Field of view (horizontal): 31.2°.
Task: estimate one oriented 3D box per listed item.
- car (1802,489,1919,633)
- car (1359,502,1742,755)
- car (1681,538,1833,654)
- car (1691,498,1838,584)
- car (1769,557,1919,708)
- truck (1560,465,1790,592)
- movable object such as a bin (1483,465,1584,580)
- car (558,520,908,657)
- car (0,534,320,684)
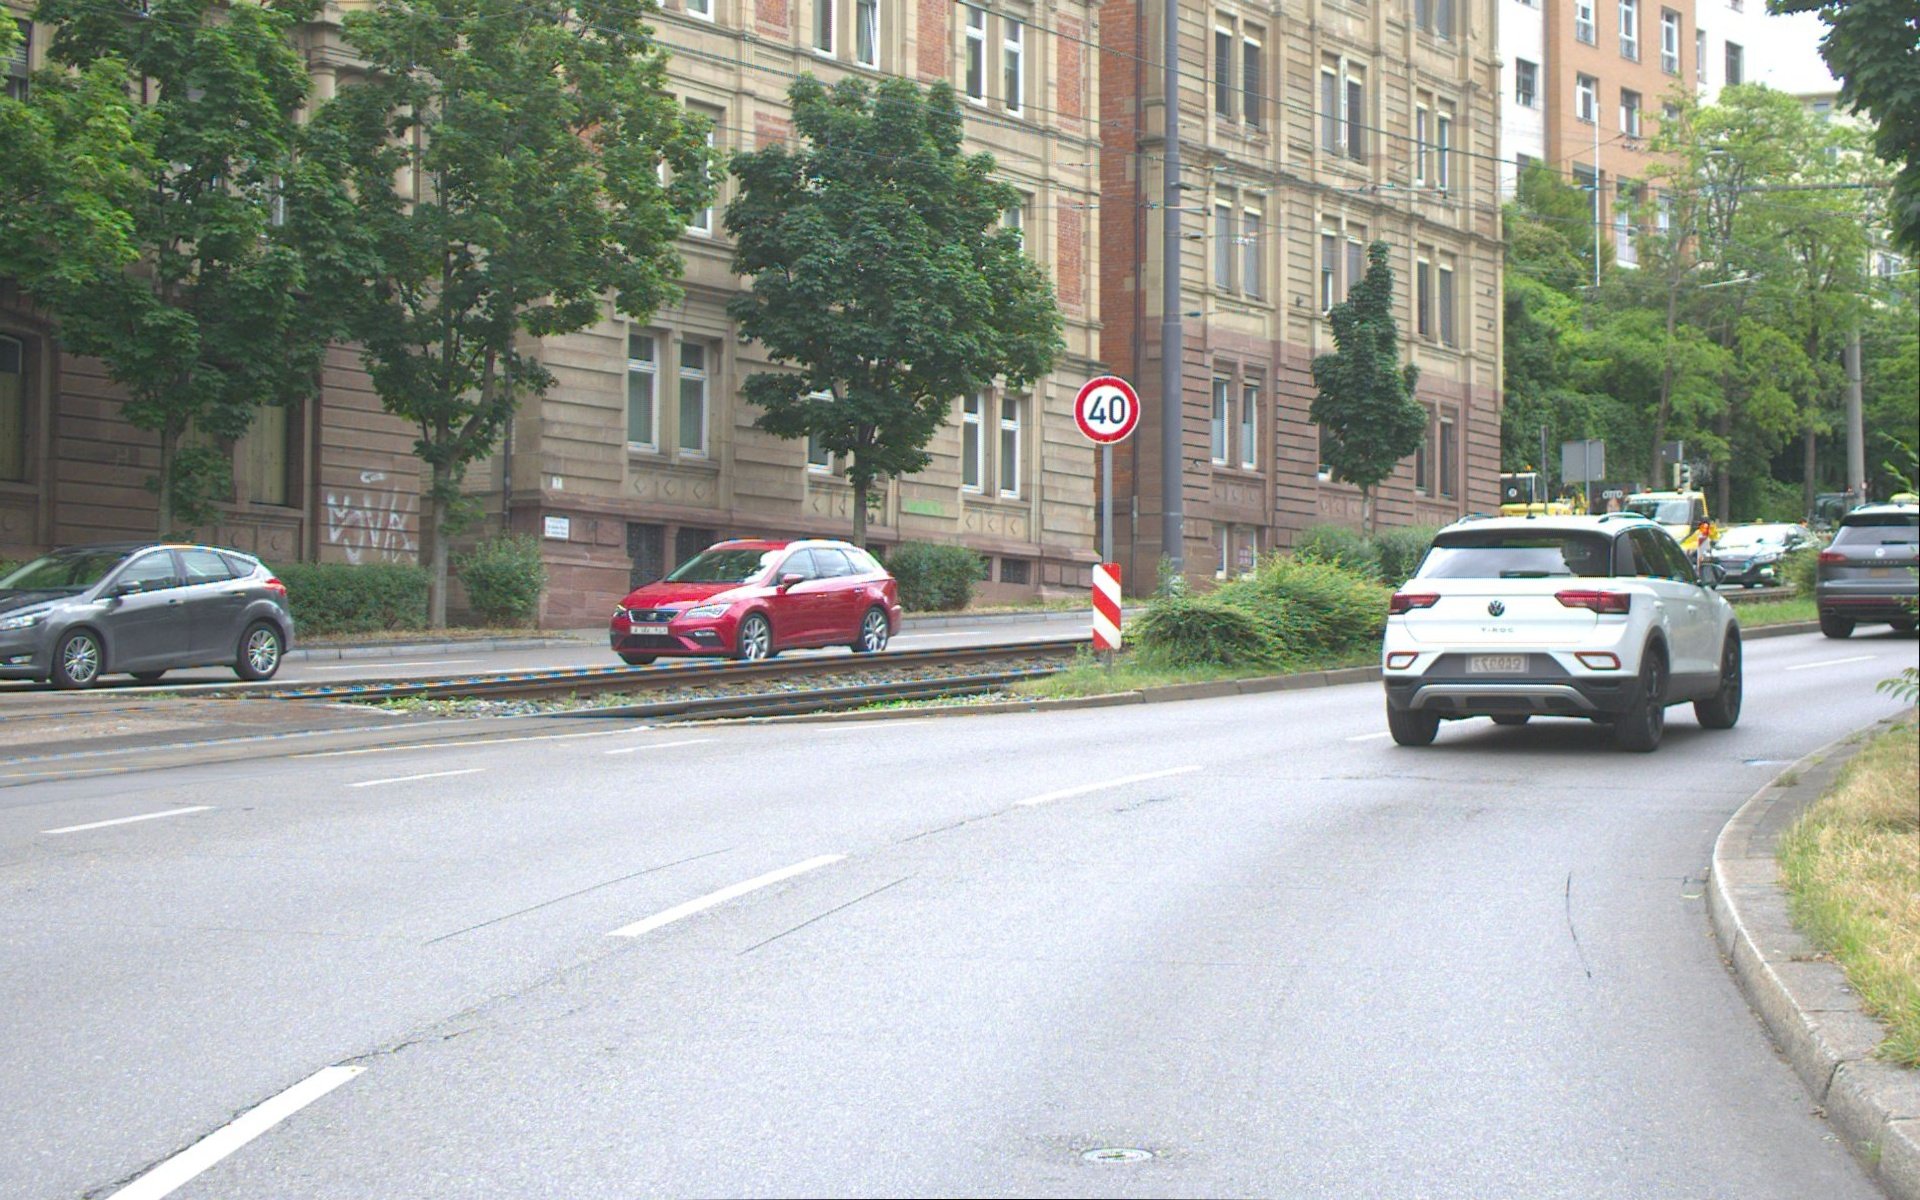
[{"bbox_3d":[12.021,-0.496,43.309,1.842,1.734,3.994,0,1,28],"label":"car"},{"bbox_3d":[4.193,0.153,23.914,1.940,1.561,4.042,2,1,19],"label":"car"},{"bbox_3d":[17.832,-0.066,76.790,1.822,1.446,4.935,2,-13,31],"label":"car"},{"bbox_3d":[18.028,-1.324,76.896,1.882,1.782,4.509,-2,0,31],"label":"car"},{"bbox_3d":[10.486,0.379,38.857,1.905,1.568,3.829,2,0,24],"label":"car"},{"bbox_3d":[17.546,-1.698,84.040,2.923,2.500,7.140,9,4,32],"label":"truck"},{"bbox_3d":[14.586,-1.956,87.449,1.996,2.828,2.027,-1,0,26],"label":"movable object such as a bin"},{"bbox_3d":[-2.620,-0.132,40.726,1.997,1.514,4.398,1,0,30],"label":"car"},{"bbox_3d":[-8.665,0.057,34.946,1.745,1.422,4.398,1,1,32],"label":"car"}]
